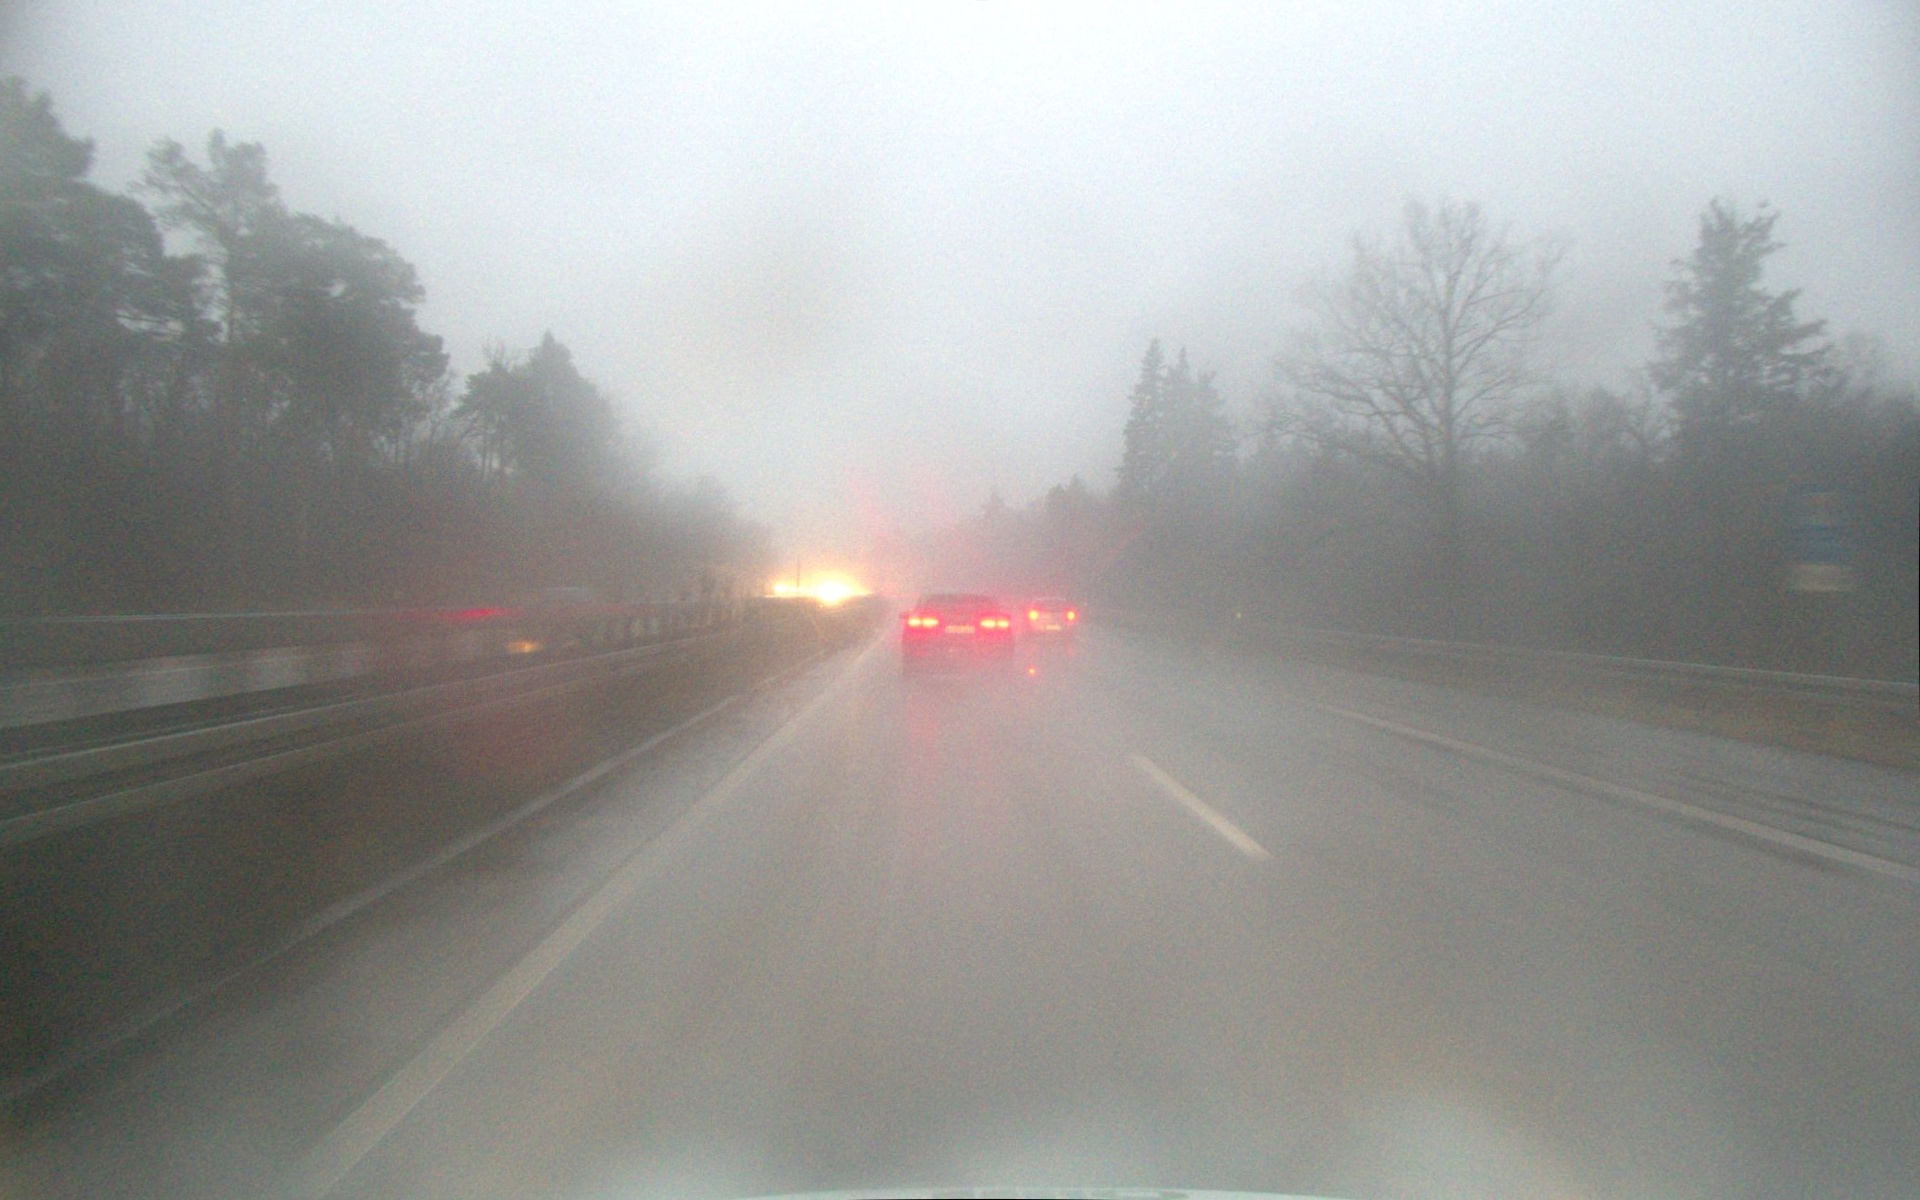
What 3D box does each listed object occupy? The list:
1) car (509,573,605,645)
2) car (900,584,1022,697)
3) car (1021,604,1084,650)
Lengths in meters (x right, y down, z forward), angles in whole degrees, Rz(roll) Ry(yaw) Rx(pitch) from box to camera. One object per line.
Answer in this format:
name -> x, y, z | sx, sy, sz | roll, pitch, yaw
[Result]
car -> -12.145, 0.247, 50.141 | 1.954, 2.049, 4.782 | 0, 0, -3
car -> -0.033, 0.644, 28.581 | 1.946, 1.798, 4.172 | 1, 0, -1
car -> 3.085, 0.873, 55.707 | 1.744, 1.462, 3.535 | 1, 0, -3
